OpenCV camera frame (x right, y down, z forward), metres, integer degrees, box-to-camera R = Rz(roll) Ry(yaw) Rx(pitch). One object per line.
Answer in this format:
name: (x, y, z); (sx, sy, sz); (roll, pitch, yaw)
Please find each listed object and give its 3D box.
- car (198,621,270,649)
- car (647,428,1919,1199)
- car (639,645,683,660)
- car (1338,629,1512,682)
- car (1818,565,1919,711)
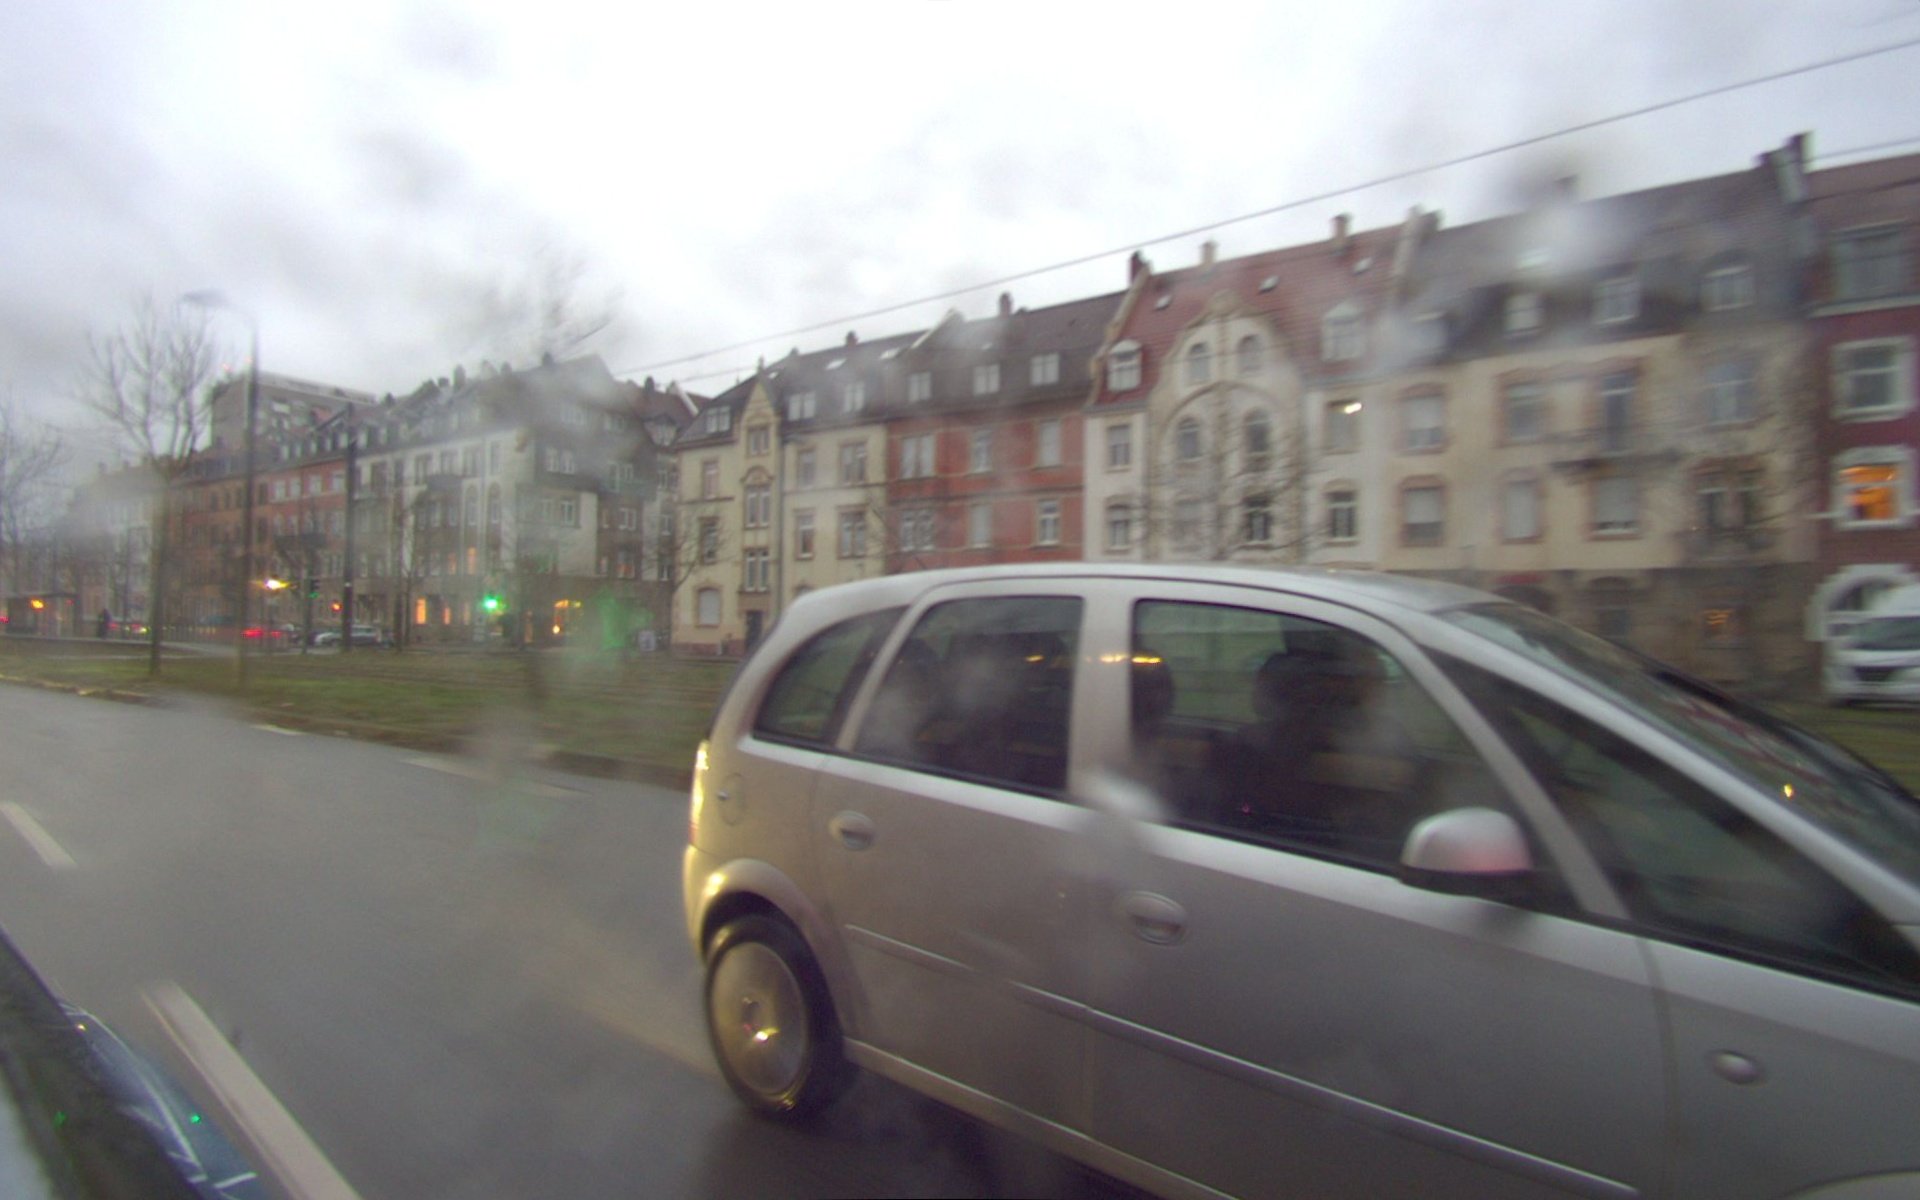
car: (-41.116, 1.978, 57.287); (4.689, 1.464, 1.848); (-1, -3, 36)
car: (1.125, 0.594, 2.571); (4.050, 1.612, 1.791); (-1, -1, 40)
car: (-21.884, 3.826, 74.099); (1.328, 1.083, 2.865); (-1, -3, 35)
car: (12.365, 1.460, 26.992); (3.931, 1.342, 2.006); (1, -2, -20)
car: (21.158, 0.801, 21.001); (5.769, 2.819, 2.005); (1, -2, -13)
